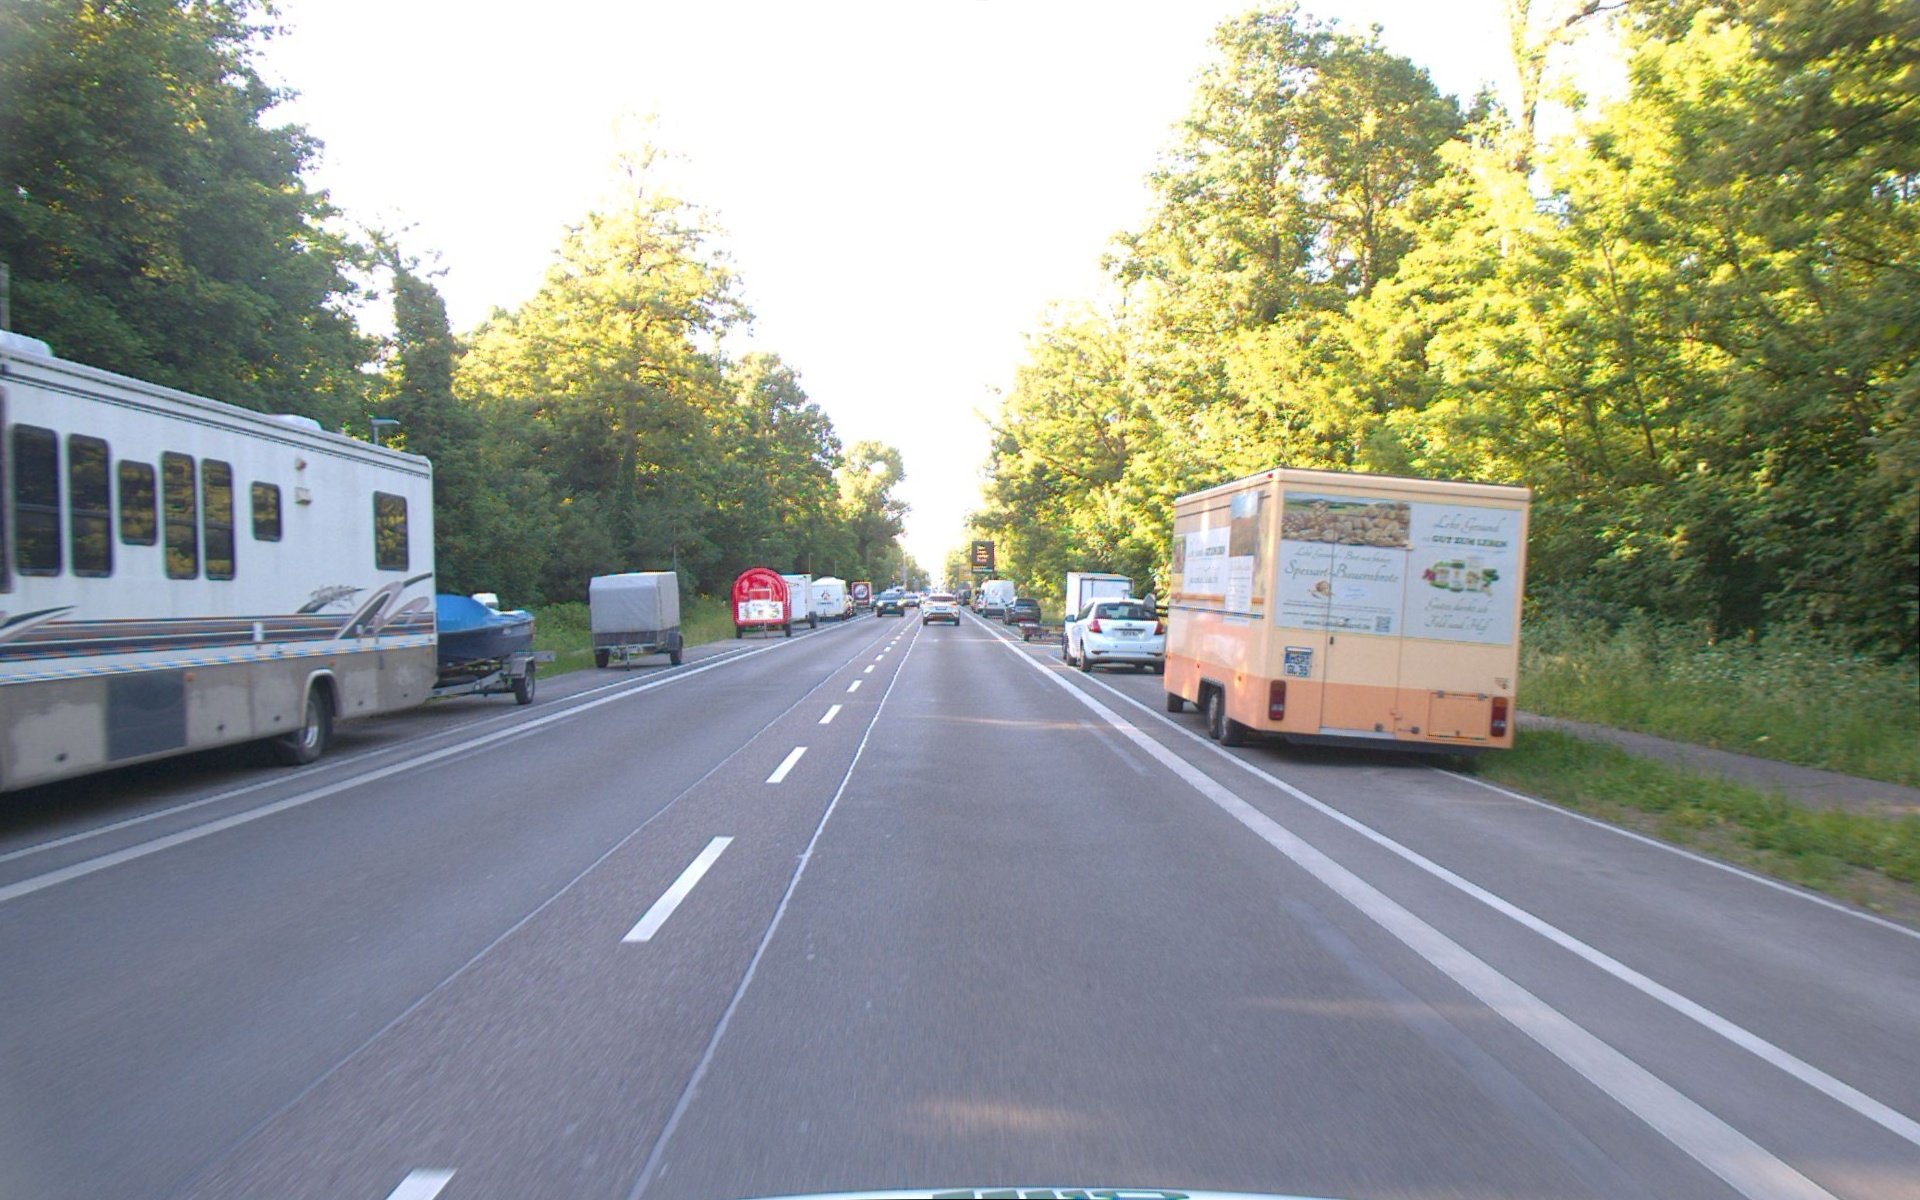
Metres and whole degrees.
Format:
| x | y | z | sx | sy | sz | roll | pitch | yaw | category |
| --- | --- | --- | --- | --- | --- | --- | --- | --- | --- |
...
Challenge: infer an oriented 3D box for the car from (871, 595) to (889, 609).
| x | y | z | sx | sy | sz | roll | pitch | yaw | category |
| --- | --- | --- | --- | --- | --- | --- | --- | --- | --- |
| -8.930 | 0.215 | 185.681 | 1.817 | 1.490 | 4.783 | 0 | 0 | -1 | car |

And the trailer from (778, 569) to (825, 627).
| x | y | z | sx | sy | sz | roll | pitch | yaw | category |
| --- | --- | --- | --- | --- | --- | --- | --- | --- | --- |
| -7.197 | -0.094 | 75.408 | 2.025 | 2.524 | 3.558 | -1 | 0 | -4 | trailer |

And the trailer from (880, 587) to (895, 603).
| x | y | z | sx | sy | sz | roll | pitch | yaw | category |
| --- | --- | --- | --- | --- | --- | --- | --- | --- | --- |
| -11.020 | -0.804 | 253.035 | 2.032 | 2.333 | 3.487 | -1 | 0 | 1 | trailer |

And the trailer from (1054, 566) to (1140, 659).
| x | y | z | sx | sy | sz | roll | pitch | yaw | category |
| --- | --- | --- | --- | --- | --- | --- | --- | --- | --- |
| 3.365 | 0.291 | 41.116 | 1.719 | 2.199 | 3.538 | 0 | 0 | -2 | trailer |

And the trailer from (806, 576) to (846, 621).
| x | y | z | sx | sy | sz | roll | pitch | yaw | category |
| --- | --- | --- | --- | --- | --- | --- | --- | --- | --- |
| -7.942 | -0.085 | 98.645 | 2.300 | 2.573 | 4.341 | -1 | 0 | -4 | trailer |

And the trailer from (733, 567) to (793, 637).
| x | y | z | sx | sy | sz | roll | pitch | yaw | category |
| --- | --- | --- | --- | --- | --- | --- | --- | --- | --- |
| -7.290 | 0.057 | 61.453 | 2.025 | 2.524 | 3.558 | -1 | 0 | -4 | trailer |

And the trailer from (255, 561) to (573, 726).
| x | y | z | sx | sy | sz | roll | pitch | yaw | category |
| --- | --- | --- | --- | --- | --- | --- | --- | --- | --- |
| -7.257 | 0.501 | 22.904 | 2.379 | 1.948 | 6.263 | 1 | 0 | -1 | trailer |

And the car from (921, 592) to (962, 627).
| x | y | z | sx | sy | sz | roll | pitch | yaw | category |
| --- | --- | --- | --- | --- | --- | --- | --- | --- | --- |
| -0.892 | 0.448 | 80.159 | 1.953 | 1.668 | 3.999 | 0 | 0 | -1 | car |

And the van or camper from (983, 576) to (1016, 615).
| x | y | z | sx | sy | sz | roll | pitch | yaw | category |
| --- | --- | --- | --- | --- | --- | --- | --- | --- | --- |
| 2.601 | -0.319 | 109.850 | 2.082 | 2.526 | 6.304 | 0 | 0 | 0 | van or camper |

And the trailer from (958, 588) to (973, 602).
| x | y | z | sx | sy | sz | roll | pitch | yaw | category |
| --- | --- | --- | --- | --- | --- | --- | --- | --- | --- |
| 0.906 | -0.760 | 252.174 | 1.581 | 2.149 | 2.397 | 1 | 0 | 20 | trailer |

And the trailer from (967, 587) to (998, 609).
| x | y | z | sx | sy | sz | roll | pitch | yaw | category |
| --- | --- | --- | --- | --- | --- | --- | --- | --- | --- |
| 2.164 | -0.190 | 158.195 | 1.921 | 2.058 | 3.845 | 0 | 0 | 19 | trailer |

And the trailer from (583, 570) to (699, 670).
| x | y | z | sx | sy | sz | roll | pitch | yaw | category |
| --- | --- | --- | --- | --- | --- | --- | --- | --- | --- |
| -7.095 | 0.421 | 37.109 | 1.815 | 2.049 | 3.561 | -3 | 0 | 0 | trailer |

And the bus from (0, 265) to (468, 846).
| x | y | z | sx | sy | sz | roll | pitch | yaw | category |
| --- | --- | --- | --- | --- | --- | --- | --- | --- | --- |
| -7.218 | -0.267 | 14.138 | 2.770 | 3.491 | 11.198 | 1 | 0 | -1 | bus |

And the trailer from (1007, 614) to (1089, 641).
| x | y | z | sx | sy | sz | roll | pitch | yaw | category |
| --- | --- | --- | --- | --- | --- | --- | --- | --- | --- |
| 2.882 | 0.898 | 55.310 | 2.383 | 0.812 | 5.658 | 1 | 0 | -1 | trailer |

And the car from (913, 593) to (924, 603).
| x | y | z | sx | sy | sz | roll | pitch | yaw | category |
| --- | --- | --- | --- | --- | --- | --- | --- | --- | --- |
| -6.237 | -0.308 | 250.551 | 1.571 | 1.445 | 3.518 | -1 | 0 | -1 | car |

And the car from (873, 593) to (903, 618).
| x | y | z | sx | sy | sz | roll | pitch | yaw | category |
| --- | --- | --- | --- | --- | --- | --- | --- | --- | --- |
| -4.808 | 0.376 | 111.062 | 1.781 | 1.614 | 4.458 | -1 | 0 | 0 | car |

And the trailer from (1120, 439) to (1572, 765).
| x | y | z | sx | sy | sz | roll | pitch | yaw | category |
| --- | --- | --- | --- | --- | --- | --- | --- | --- | --- |
| 4.070 | 0.042 | 20.300 | 2.862 | 2.891 | 9.879 | 3 | 0 | -2 | trailer |

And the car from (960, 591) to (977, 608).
| x | y | z | sx | sy | sz | roll | pitch | yaw | category |
| --- | --- | --- | --- | --- | --- | --- | --- | --- | --- |
| 1.040 | -0.117 | 207.779 | 2.070 | 2.049 | 5.039 | 2 | 0 | 0 | car |

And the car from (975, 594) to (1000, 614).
| x | y | z | sx | sy | sz | roll | pitch | yaw | category |
| --- | --- | --- | --- | --- | --- | --- | --- | --- | --- |
| 2.180 | 0.293 | 130.387 | 1.700 | 1.514 | 4.399 | 2 | 0 | -2 | car |

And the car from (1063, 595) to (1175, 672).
| x | y | z | sx | sy | sz | roll | pitch | yaw | category |
| --- | --- | --- | --- | --- | --- | --- | --- | --- | --- |
| 3.301 | 0.657 | 35.129 | 1.849 | 1.493 | 4.569 | 1 | 0 | -1 | car |

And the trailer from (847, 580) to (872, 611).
| x | y | z | sx | sy | sz | roll | pitch | yaw | category |
| --- | --- | --- | --- | --- | --- | --- | --- | --- | --- |
| -8.929 | -0.414 | 146.972 | 1.953 | 2.667 | 4.085 | 0 | 0 | -1 | trailer |

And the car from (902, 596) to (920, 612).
| x | y | z | sx | sy | sz | roll | pitch | yaw | category |
| --- | --- | --- | --- | --- | --- | --- | --- | --- | --- |
| -4.997 | 0.403 | 170.004 | 1.782 | 1.559 | 4.529 | -1 | 0 | -1 | car |

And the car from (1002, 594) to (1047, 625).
| x | y | z | sx | sy | sz | roll | pitch | yaw | category |
| --- | --- | --- | --- | --- | --- | --- | --- | --- | --- |
| 3.321 | 0.475 | 86.006 | 1.798 | 1.445 | 4.594 | 3 | 0 | -4 | car |
